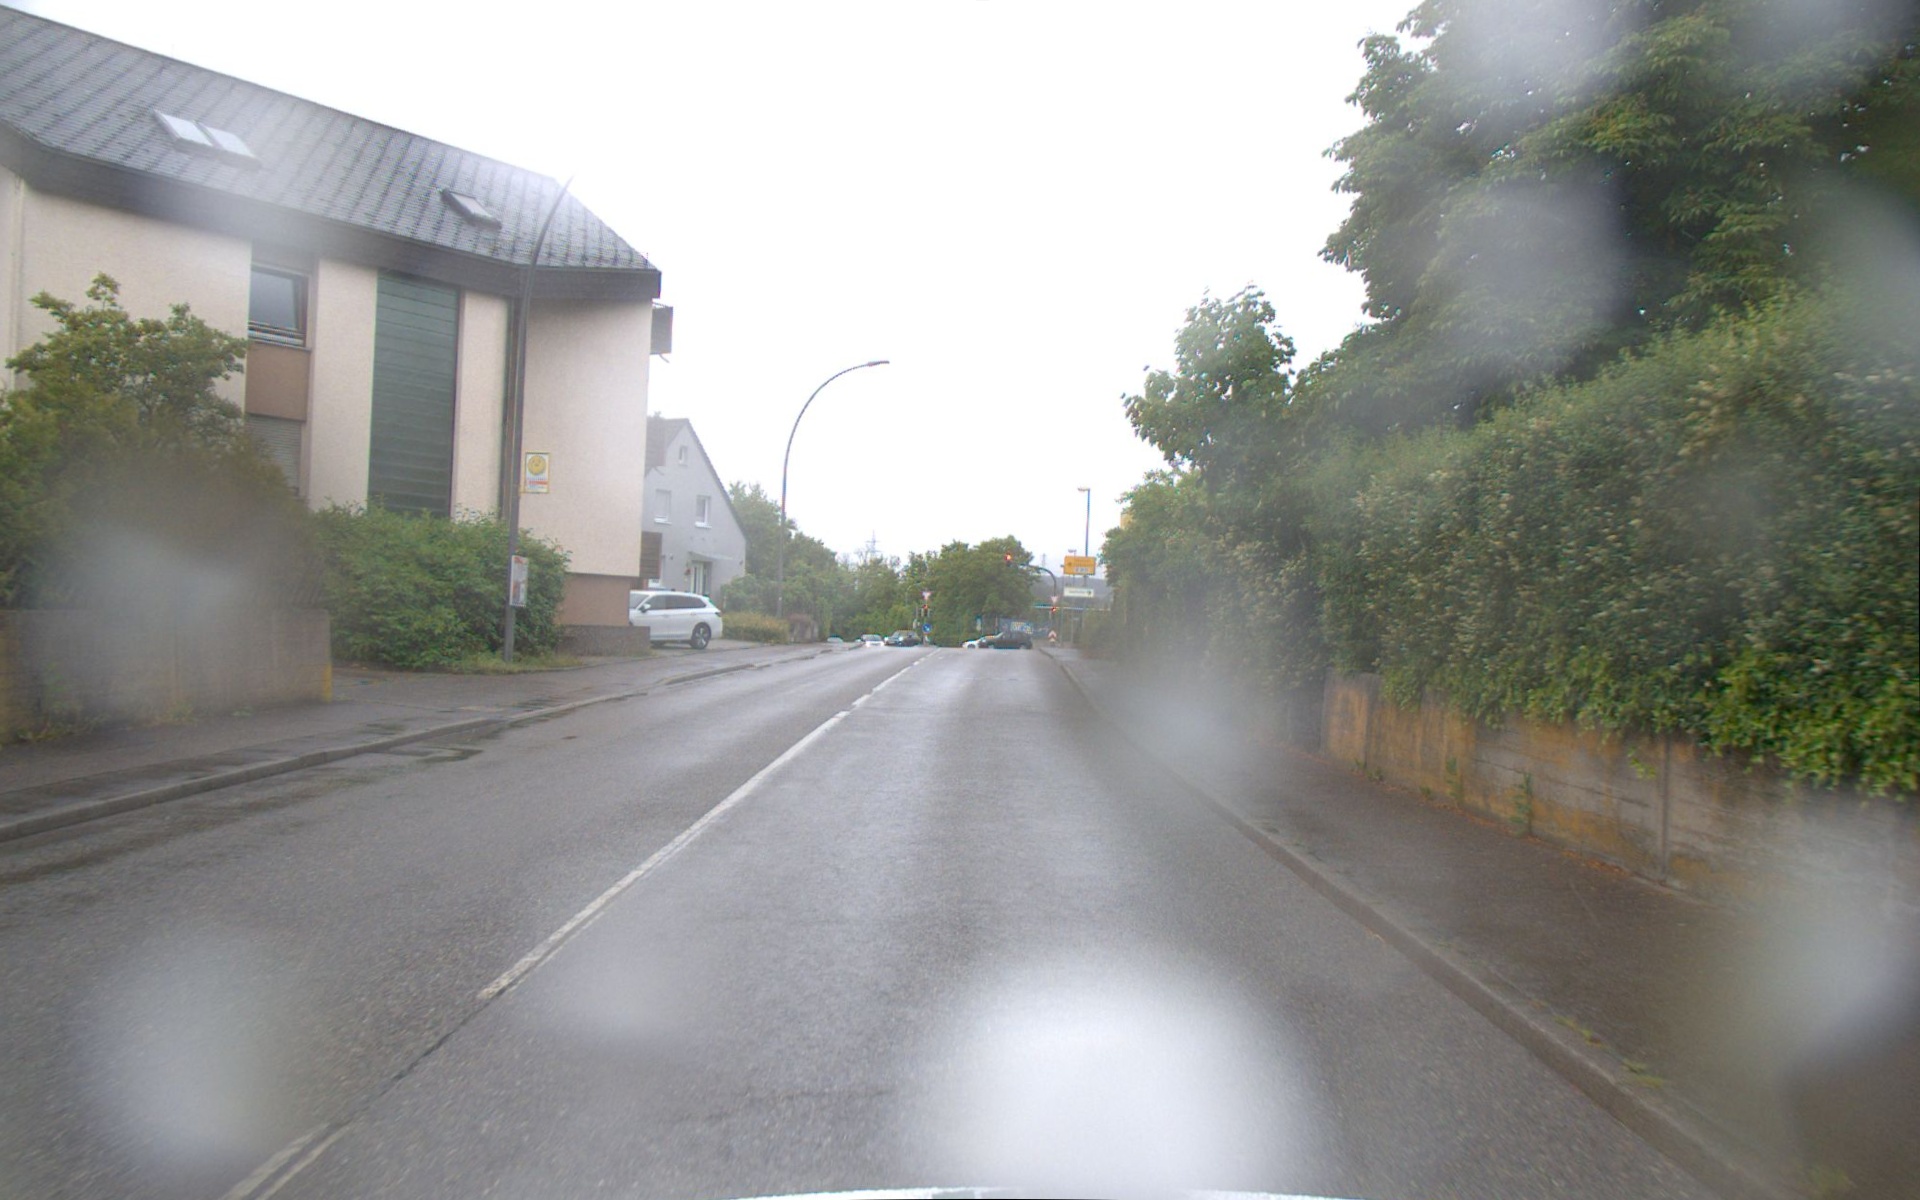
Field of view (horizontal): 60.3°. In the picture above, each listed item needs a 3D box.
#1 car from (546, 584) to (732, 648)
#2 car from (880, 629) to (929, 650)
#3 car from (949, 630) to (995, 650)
[{"bbox_3d":[-8.381,0.439,43.638,1.869,1.503,4.865,3,1,34],"label":"car"},{"bbox_3d":[-4.235,3.040,127.231,1.773,1.550,3.988,2,-1,33],"label":"car"},{"bbox_3d":[1.033,3.486,144.491,3.903,1.646,1.945,0,2,3],"label":"car"}]
